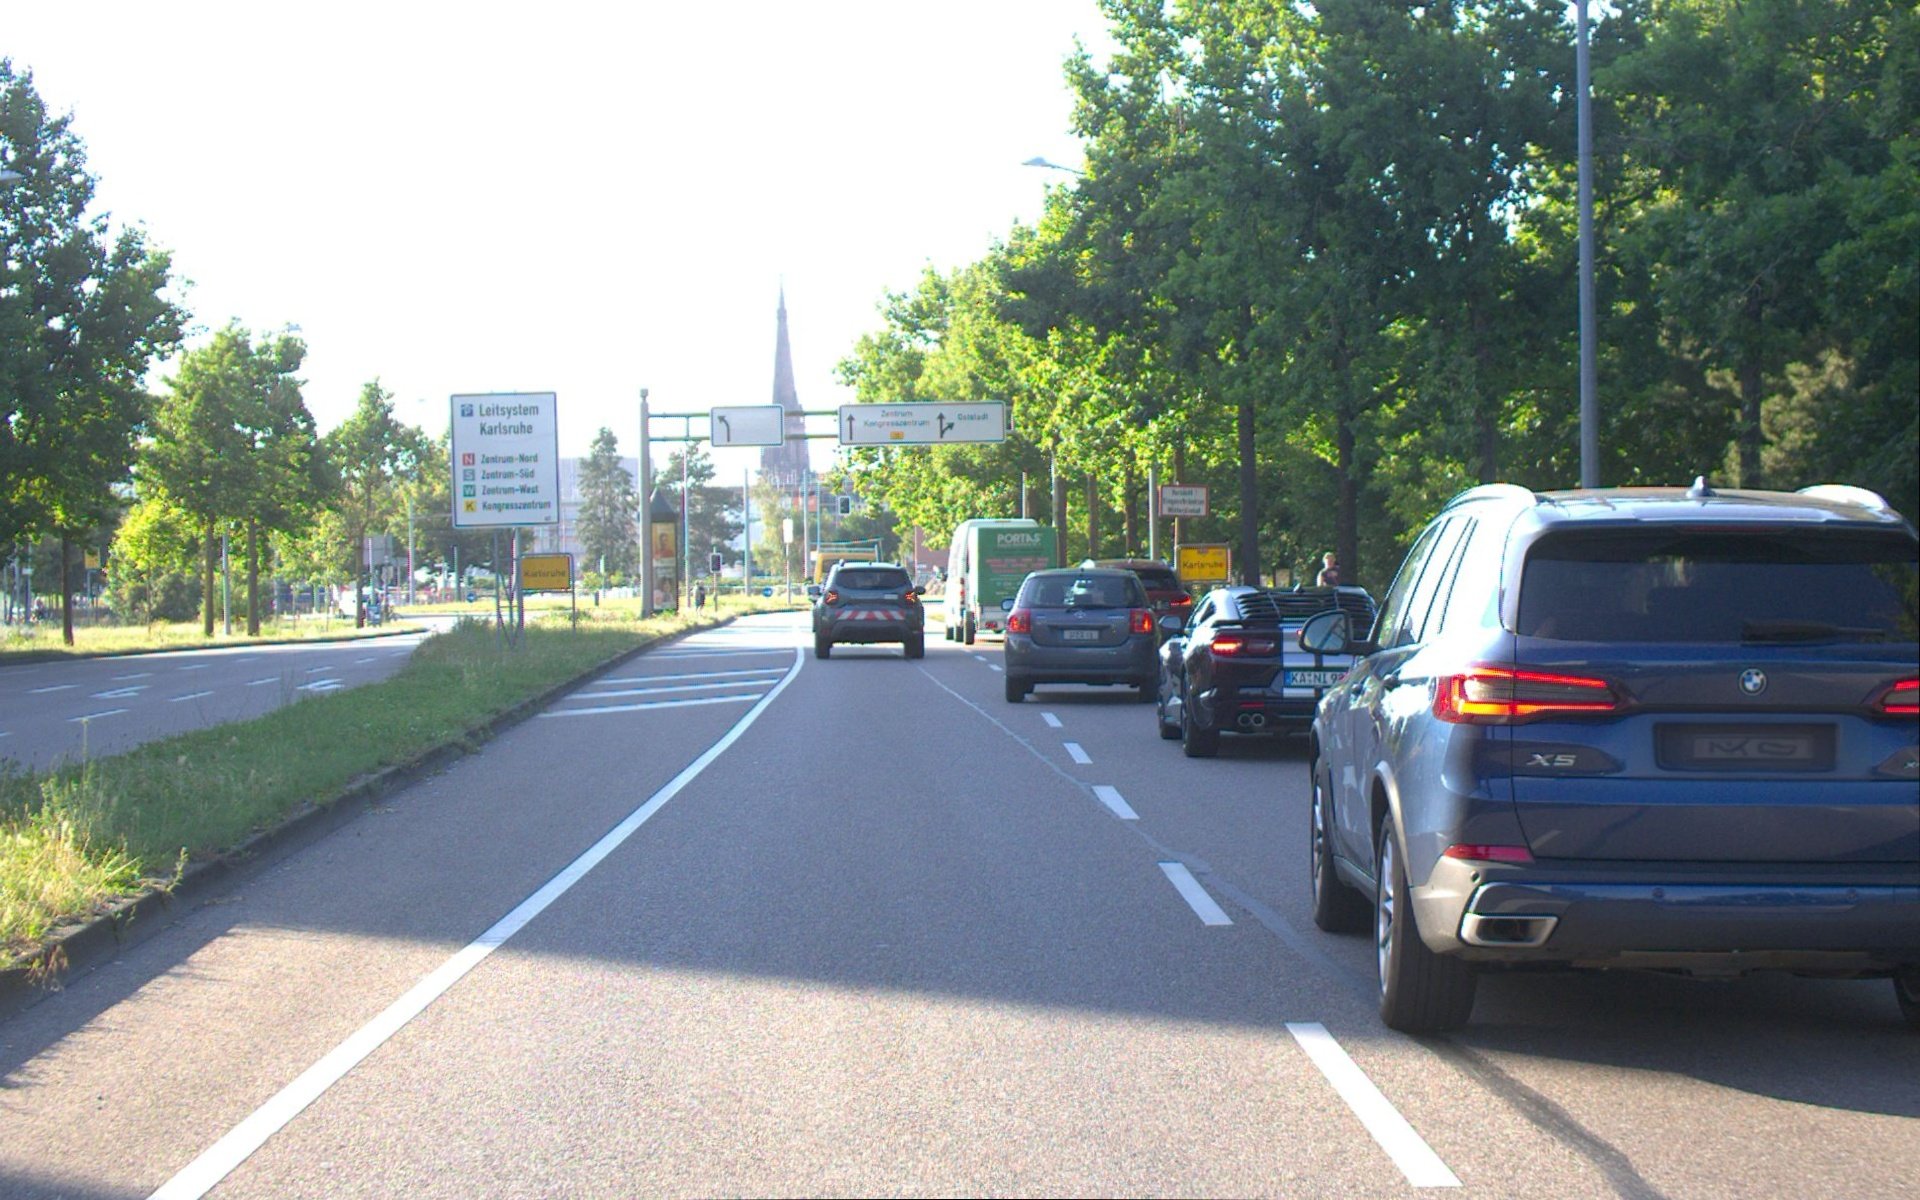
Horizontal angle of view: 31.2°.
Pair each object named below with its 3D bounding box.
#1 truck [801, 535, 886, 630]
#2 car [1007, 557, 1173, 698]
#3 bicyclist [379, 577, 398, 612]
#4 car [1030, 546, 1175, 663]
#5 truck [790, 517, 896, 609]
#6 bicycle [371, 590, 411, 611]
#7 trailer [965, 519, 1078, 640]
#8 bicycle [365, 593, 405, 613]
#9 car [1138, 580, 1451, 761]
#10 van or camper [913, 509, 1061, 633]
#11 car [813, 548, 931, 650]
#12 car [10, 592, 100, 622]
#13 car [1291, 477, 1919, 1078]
[{"bbox_3d":[-3.392,-0.511,98.956,2.219,2.642,4.774,-1,0,-4],"label":"truck"},{"bbox_3d":[1.422,0.277,38.662,1.747,1.468,3.819,-1,1,1],"label":"car"},{"bbox_3d":[-28.458,-0.280,171.242,0.813,1.764,0.496,0,0,13],"label":"bicyclist"},{"bbox_3d":[2.003,0.048,49.273,1.747,1.615,3.820,0,0,-3],"label":"car"},{"bbox_3d":[-3.443,-1.062,99.688,2.580,2.549,6.253,-1,1,-6],"label":"truck"},{"bbox_3d":[-28.577,0.024,172.713,1.908,1.016,0.504,-1,1,5],"label":"bicycle"},{"bbox_3d":[1.232,-0.420,70.325,2.090,2.392,3.501,0,0,-3],"label":"trailer"},{"bbox_3d":[-28.661,0.145,171.294,1.909,1.016,0.504,0,0,13],"label":"bicycle"},{"bbox_3d":[2.614,0.510,27.918,1.854,1.333,4.625,0,0,-3],"label":"car"},{"bbox_3d":[0.531,-0.642,76.239,2.284,2.620,6.584,0,1,-8],"label":"van or camper"},{"bbox_3d":[-1.533,-0.020,58.518,1.905,1.654,4.000,-1,0,-2],"label":"car"},{"bbox_3d":[-48.974,0.362,186.113,1.874,1.503,4.297,-1,1,45],"label":"car"},{"bbox_3d":[2.286,0.512,12.218,1.955,1.721,4.699,0,0,2],"label":"car"}]
